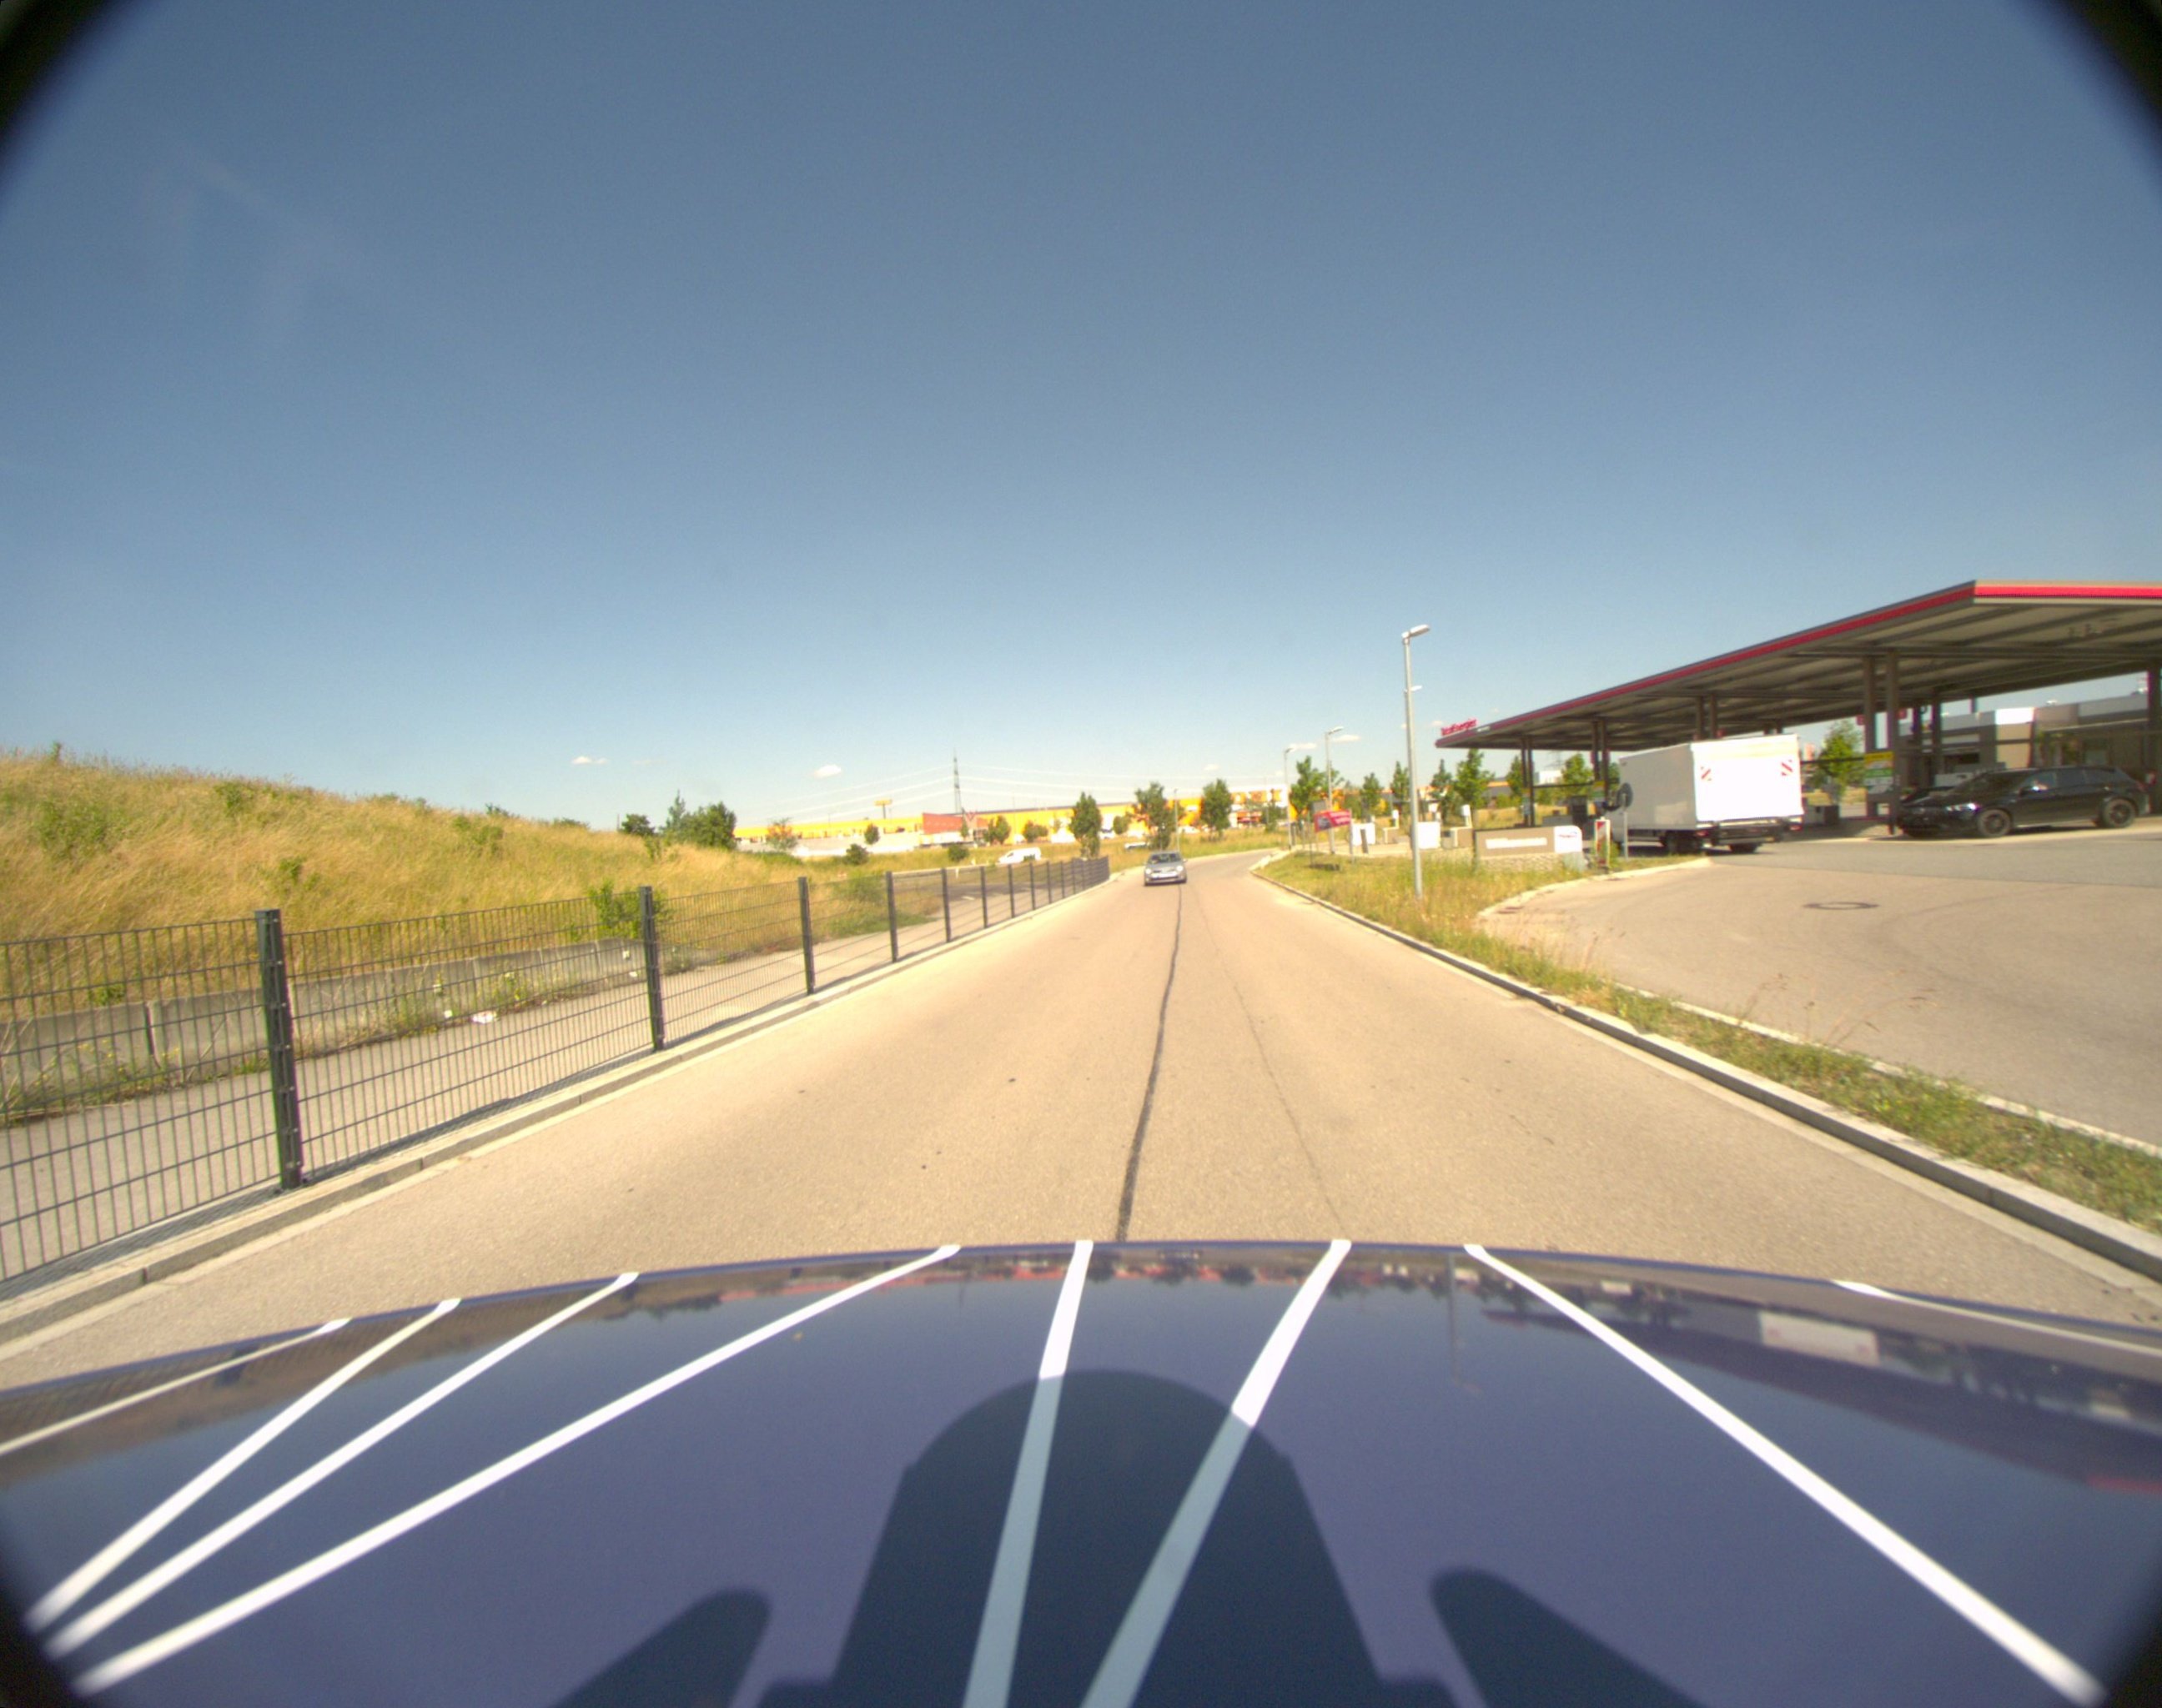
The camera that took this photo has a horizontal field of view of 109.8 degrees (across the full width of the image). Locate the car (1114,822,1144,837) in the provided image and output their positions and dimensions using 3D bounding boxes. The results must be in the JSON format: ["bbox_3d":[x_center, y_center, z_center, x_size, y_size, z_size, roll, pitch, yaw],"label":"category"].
[{"bbox_3d":[7.641,-3.887,121.964,4.632,2.002,2.000,-4,1,3],"label":"car"}]

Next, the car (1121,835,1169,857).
[{"bbox_3d":[6.702,-0.842,79.230,4.753,2.002,2.000,-4,1,6],"label":"car"}]

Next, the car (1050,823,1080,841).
[{"bbox_3d":[-2.555,-3.570,122.892,4.632,2.534,2.000,-4,1,3],"label":"car"}]

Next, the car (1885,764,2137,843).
[{"bbox_3d":[25.395,-1.329,20.886,4.517,1.748,1.796,-4,1,3],"label":"car"}]

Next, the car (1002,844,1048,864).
[{"bbox_3d":[-6.630,0.045,90.468,5.250,2.002,2.000,-4,1,2],"label":"car"}]

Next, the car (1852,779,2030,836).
[{"bbox_3d":[29.162,-1.555,25.874,3.932,1.565,1.698,-4,1,4],"label":"car"}]

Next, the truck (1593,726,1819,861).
[{"bbox_3d":[18.543,-1.645,23.204,2.637,3.299,6.912,-4,1,16],"label":"truck"}]

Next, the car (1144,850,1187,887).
[{"bbox_3d":[3.708,0.586,33.323,1.745,1.459,3.961,-1,1,6],"label":"car"}]
